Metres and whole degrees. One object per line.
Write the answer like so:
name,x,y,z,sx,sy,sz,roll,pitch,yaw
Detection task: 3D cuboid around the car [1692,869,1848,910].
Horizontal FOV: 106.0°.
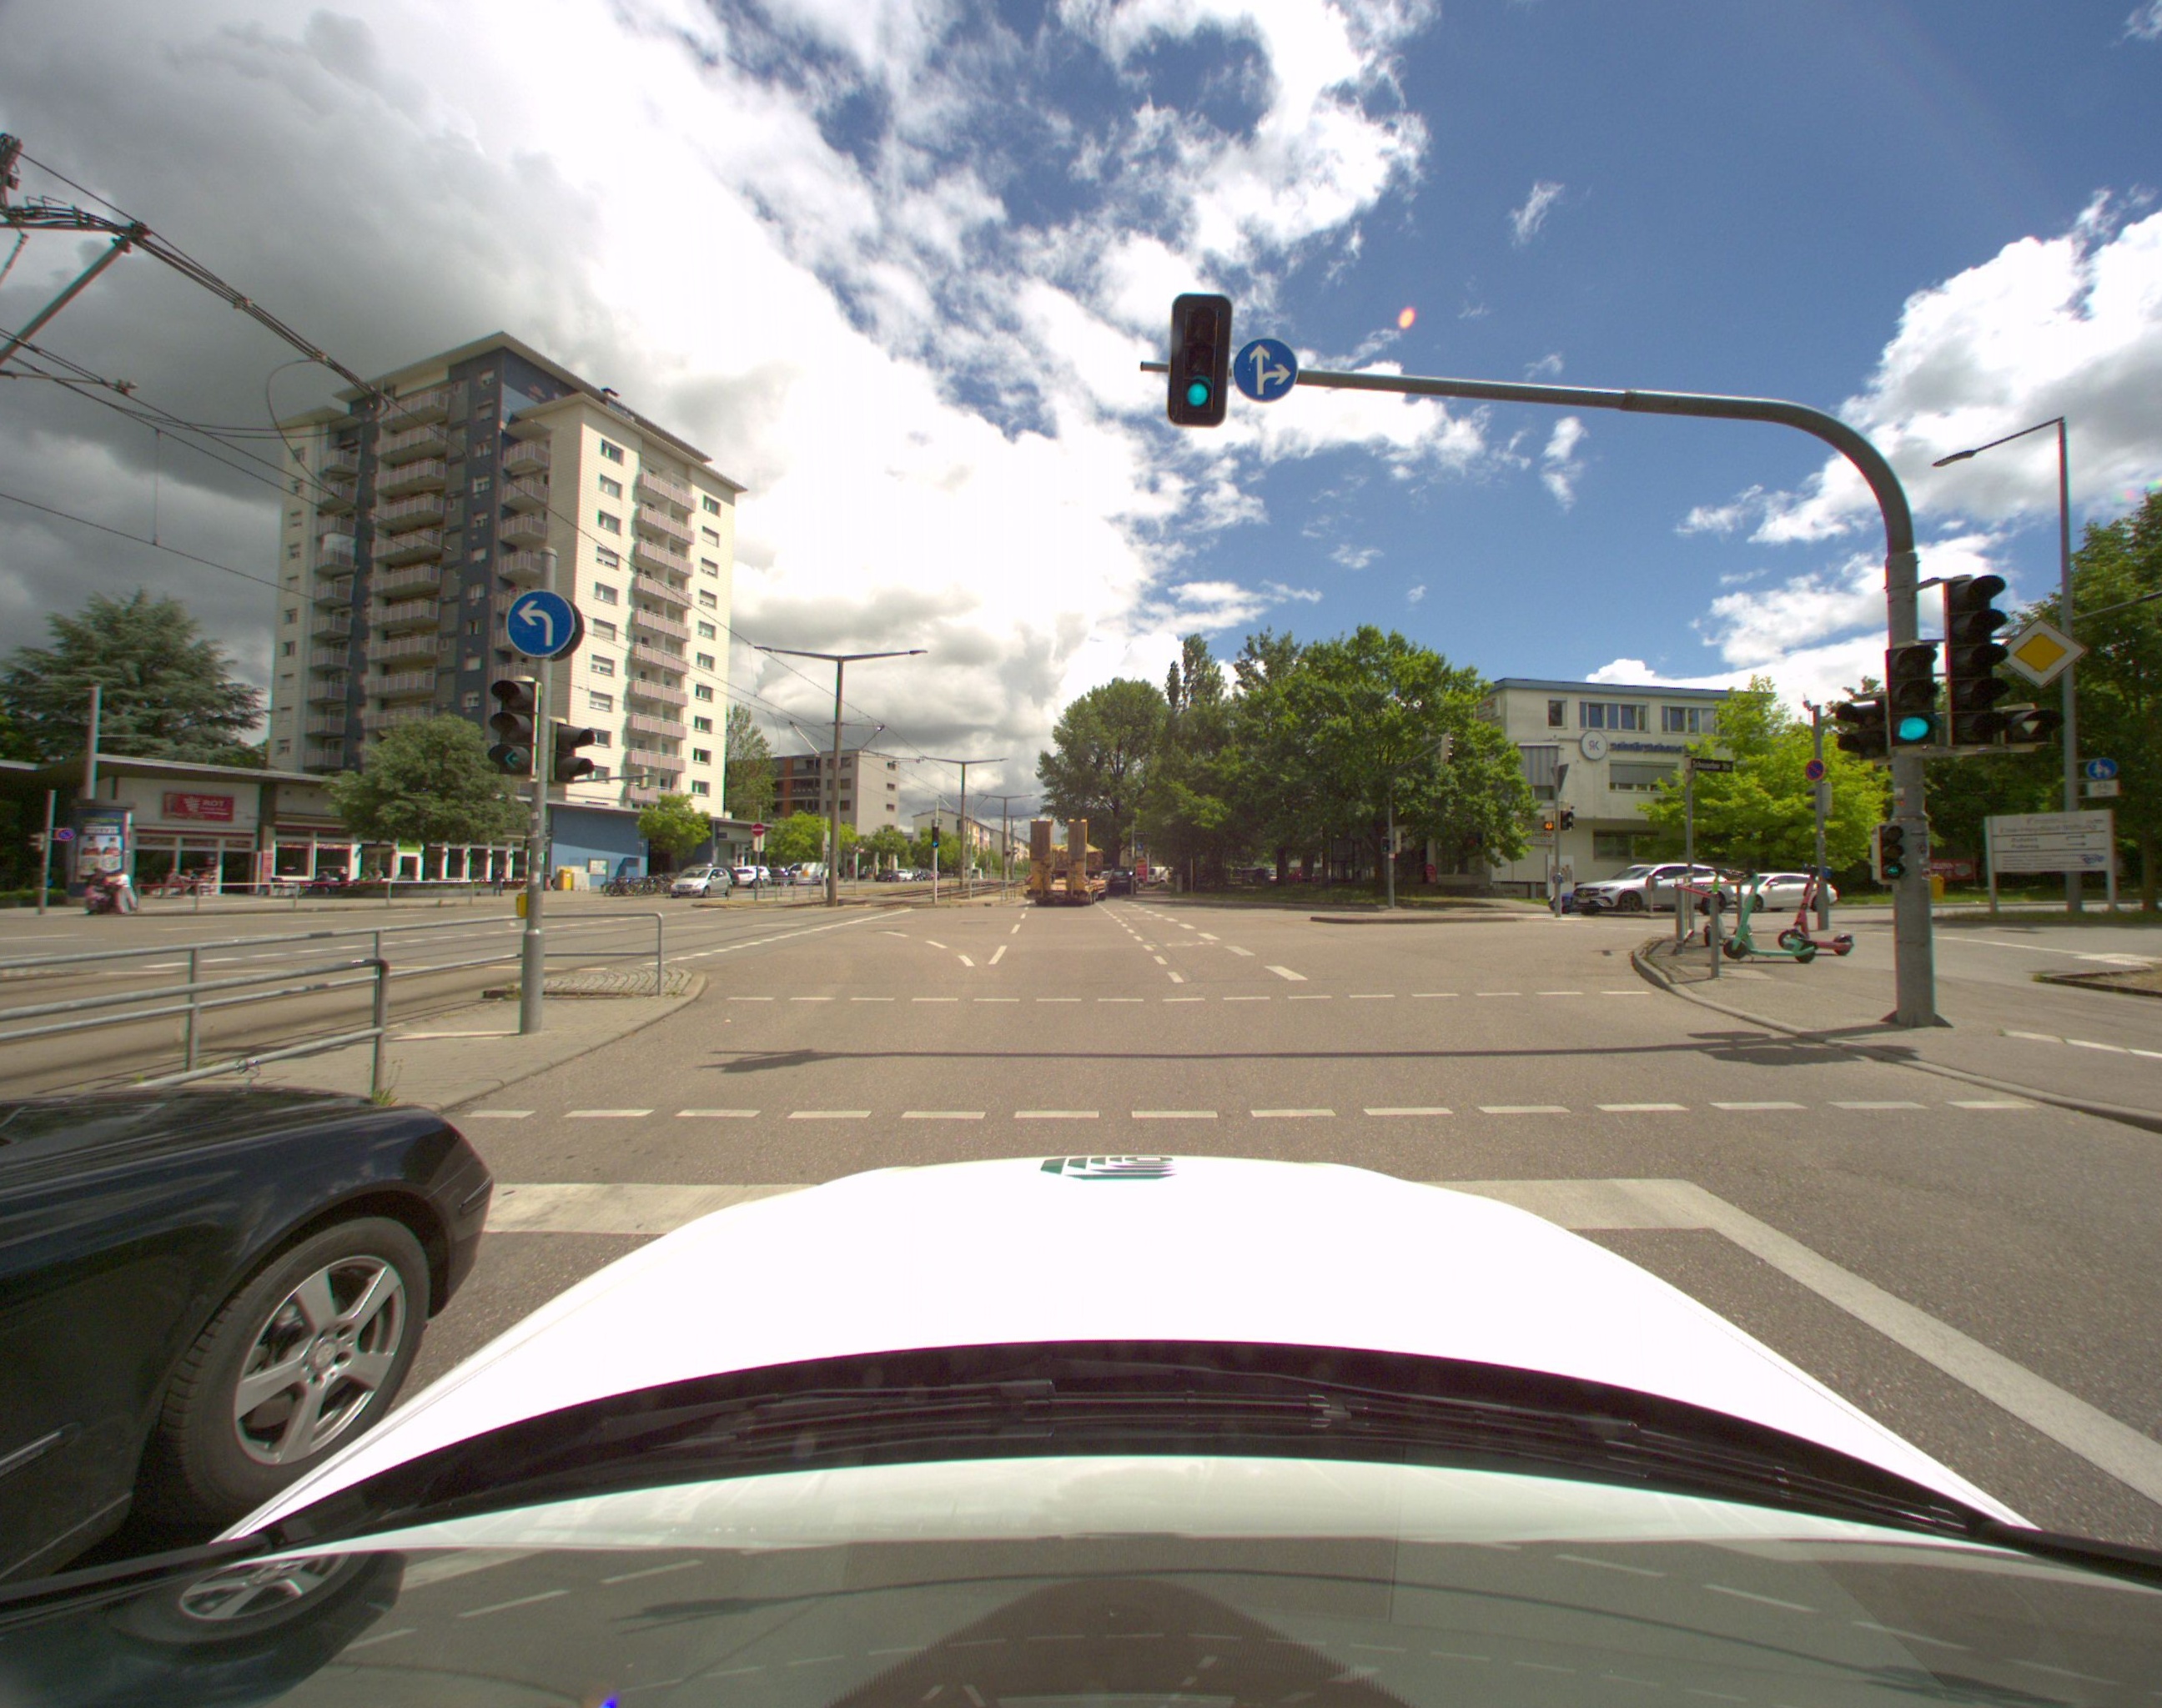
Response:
car,25.293,1.322,29.955,4.387,1.415,1.945,0,-3,-9

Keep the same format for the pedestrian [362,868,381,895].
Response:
pedestrian,-38.514,1.495,44.205,0.522,1.472,0.573,0,-1,3

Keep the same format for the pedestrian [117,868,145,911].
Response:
pedestrian,-33.200,1.226,28.464,0.512,1.472,0.529,-1,-1,26

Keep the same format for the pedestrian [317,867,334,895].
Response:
pedestrian,-40.369,1.446,43.504,0.565,1.472,0.529,-1,-1,32

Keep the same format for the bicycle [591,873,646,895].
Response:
bicycle,-23.489,1.516,41.377,2.419,1.066,0.705,0,-1,0

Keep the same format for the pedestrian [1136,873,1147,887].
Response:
pedestrian,4.753,2.024,63.845,0.775,1.055,0.546,0,-1,-7

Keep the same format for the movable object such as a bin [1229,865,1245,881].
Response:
movable object such as a bin,13.901,1.671,72.777,1.113,1.430,1.284,0,-1,-4

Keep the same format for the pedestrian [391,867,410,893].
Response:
pedestrian,-37.968,1.442,45.447,0.522,1.472,0.573,0,-1,3

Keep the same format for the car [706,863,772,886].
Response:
car,-25.075,1.493,59.806,1.882,1.632,4.024,-1,-1,44

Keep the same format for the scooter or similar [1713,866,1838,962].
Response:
scooter or similar,8.874,0.757,10.429,1.162,1.195,0.449,0,-1,5

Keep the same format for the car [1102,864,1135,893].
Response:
car,2.359,1.535,52.070,1.640,1.762,4.564,0,-1,-3

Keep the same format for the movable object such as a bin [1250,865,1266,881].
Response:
movable object such as a bin,16.026,1.677,73.695,1.113,1.430,1.284,0,-1,-4

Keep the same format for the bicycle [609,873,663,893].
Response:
bicycle,-23.516,1.532,43.063,2.419,1.066,0.705,0,-1,0

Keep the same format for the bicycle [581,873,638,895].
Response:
bicycle,-23.510,1.509,40.646,2.419,1.066,0.705,0,-1,0

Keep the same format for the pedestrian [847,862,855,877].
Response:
pedestrian,-26.192,1.765,92.763,0.609,1.792,0.843,0,-1,-1

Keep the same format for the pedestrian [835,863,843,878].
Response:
pedestrian,-26.260,1.777,88.458,0.667,1.574,0.682,0,-1,-28

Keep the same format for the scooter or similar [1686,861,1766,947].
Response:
scooter or similar,9.711,0.728,12.266,1.213,1.235,0.475,0,-1,-27

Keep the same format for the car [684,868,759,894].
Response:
car,-23.396,1.712,53.080,1.908,1.591,4.024,-1,-1,43

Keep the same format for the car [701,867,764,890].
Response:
car,-24.432,1.679,57.149,3.786,1.496,1.727,0,-1,-40

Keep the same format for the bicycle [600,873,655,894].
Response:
bicycle,-23.474,1.523,42.177,2.419,1.066,0.705,0,-1,0

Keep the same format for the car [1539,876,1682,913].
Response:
car,18.714,1.449,28.883,3.954,1.225,1.908,0,-3,-7

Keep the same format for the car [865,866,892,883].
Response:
car,-21.956,2.221,88.549,1.989,1.663,4.095,1,-1,-3

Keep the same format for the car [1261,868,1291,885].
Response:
car,18.179,2.073,76.192,1.933,1.490,4.001,0,-1,1

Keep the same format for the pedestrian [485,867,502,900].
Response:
pedestrian,-29.961,1.486,41.544,0.415,1.643,0.600,0,-1,-2

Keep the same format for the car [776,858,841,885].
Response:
car,-22.895,1.417,68.541,4.788,2.157,1.883,0,-1,-42

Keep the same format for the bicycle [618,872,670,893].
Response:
bicycle,-23.511,1.539,43.814,2.419,1.066,0.705,0,-1,0

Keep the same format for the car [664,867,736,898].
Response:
car,-19.782,1.443,42.489,1.810,1.533,3.758,0,-1,4

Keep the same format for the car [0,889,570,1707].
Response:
car,-2.854,0.807,0.496,1.963,1.398,4.678,0,-1,3

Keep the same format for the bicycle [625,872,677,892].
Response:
bicycle,-23.531,1.546,44.576,2.419,1.066,0.705,0,-1,0

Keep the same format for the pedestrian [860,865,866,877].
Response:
pedestrian,-26.439,2.022,98.812,0.500,1.460,0.555,0,-1,-28

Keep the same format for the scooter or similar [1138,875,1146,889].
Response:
scooter or similar,4.763,2.165,63.854,0.476,1.055,0.895,0,-1,-7

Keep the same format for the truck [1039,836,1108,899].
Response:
truck,-0.604,0.733,47.370,2.833,3.330,7.958,0,-1,-9

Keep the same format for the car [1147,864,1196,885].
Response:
car,8.096,1.806,72.741,4.005,1.823,1.796,0,-1,-24

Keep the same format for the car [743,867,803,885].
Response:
car,-24.214,1.713,64.008,4.022,1.383,1.883,0,-1,-42

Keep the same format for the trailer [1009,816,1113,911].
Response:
trailer,-0.566,0.426,38.129,3.034,3.773,11.637,0,-1,8

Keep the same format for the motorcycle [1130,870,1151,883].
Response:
motorcycle,5.586,2.144,76.543,1.803,1.210,0.706,0,-1,-24

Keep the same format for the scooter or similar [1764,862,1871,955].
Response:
scooter or similar,10.173,0.736,11.258,1.182,1.235,0.478,0,-1,-12

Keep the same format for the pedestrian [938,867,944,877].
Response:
pedestrian,-22.881,2.914,133.360,0.746,1.662,0.870,0,-1,3

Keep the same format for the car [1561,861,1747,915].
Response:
car,17.950,1.066,25.625,4.636,1.592,1.918,0,-3,-7

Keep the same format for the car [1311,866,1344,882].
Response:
car,22.921,1.826,75.879,1.738,1.470,3.997,0,-1,-1

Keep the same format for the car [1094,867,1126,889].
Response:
car,2.129,1.763,61.307,1.781,1.565,4.560,0,-1,-6

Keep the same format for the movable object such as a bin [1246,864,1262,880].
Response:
movable object such as a bin,15.948,1.678,75.048,1.113,1.430,1.284,0,-1,-4

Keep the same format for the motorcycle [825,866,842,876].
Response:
motorcycle,-31.049,2.120,102.193,1.888,1.178,0.740,0,-1,-4

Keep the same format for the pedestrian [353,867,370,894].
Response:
pedestrian,-39.688,1.467,44.940,0.565,1.472,0.529,-1,-1,29

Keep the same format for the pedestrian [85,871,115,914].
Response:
pedestrian,-34.006,1.321,28.229,0.565,1.472,0.529,-1,-1,26

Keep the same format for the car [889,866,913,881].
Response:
car,-21.534,2.311,97.541,1.989,1.663,4.095,1,-1,-3

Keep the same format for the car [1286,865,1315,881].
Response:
car,20.597,1.802,76.501,1.737,1.443,4.001,0,-1,1
